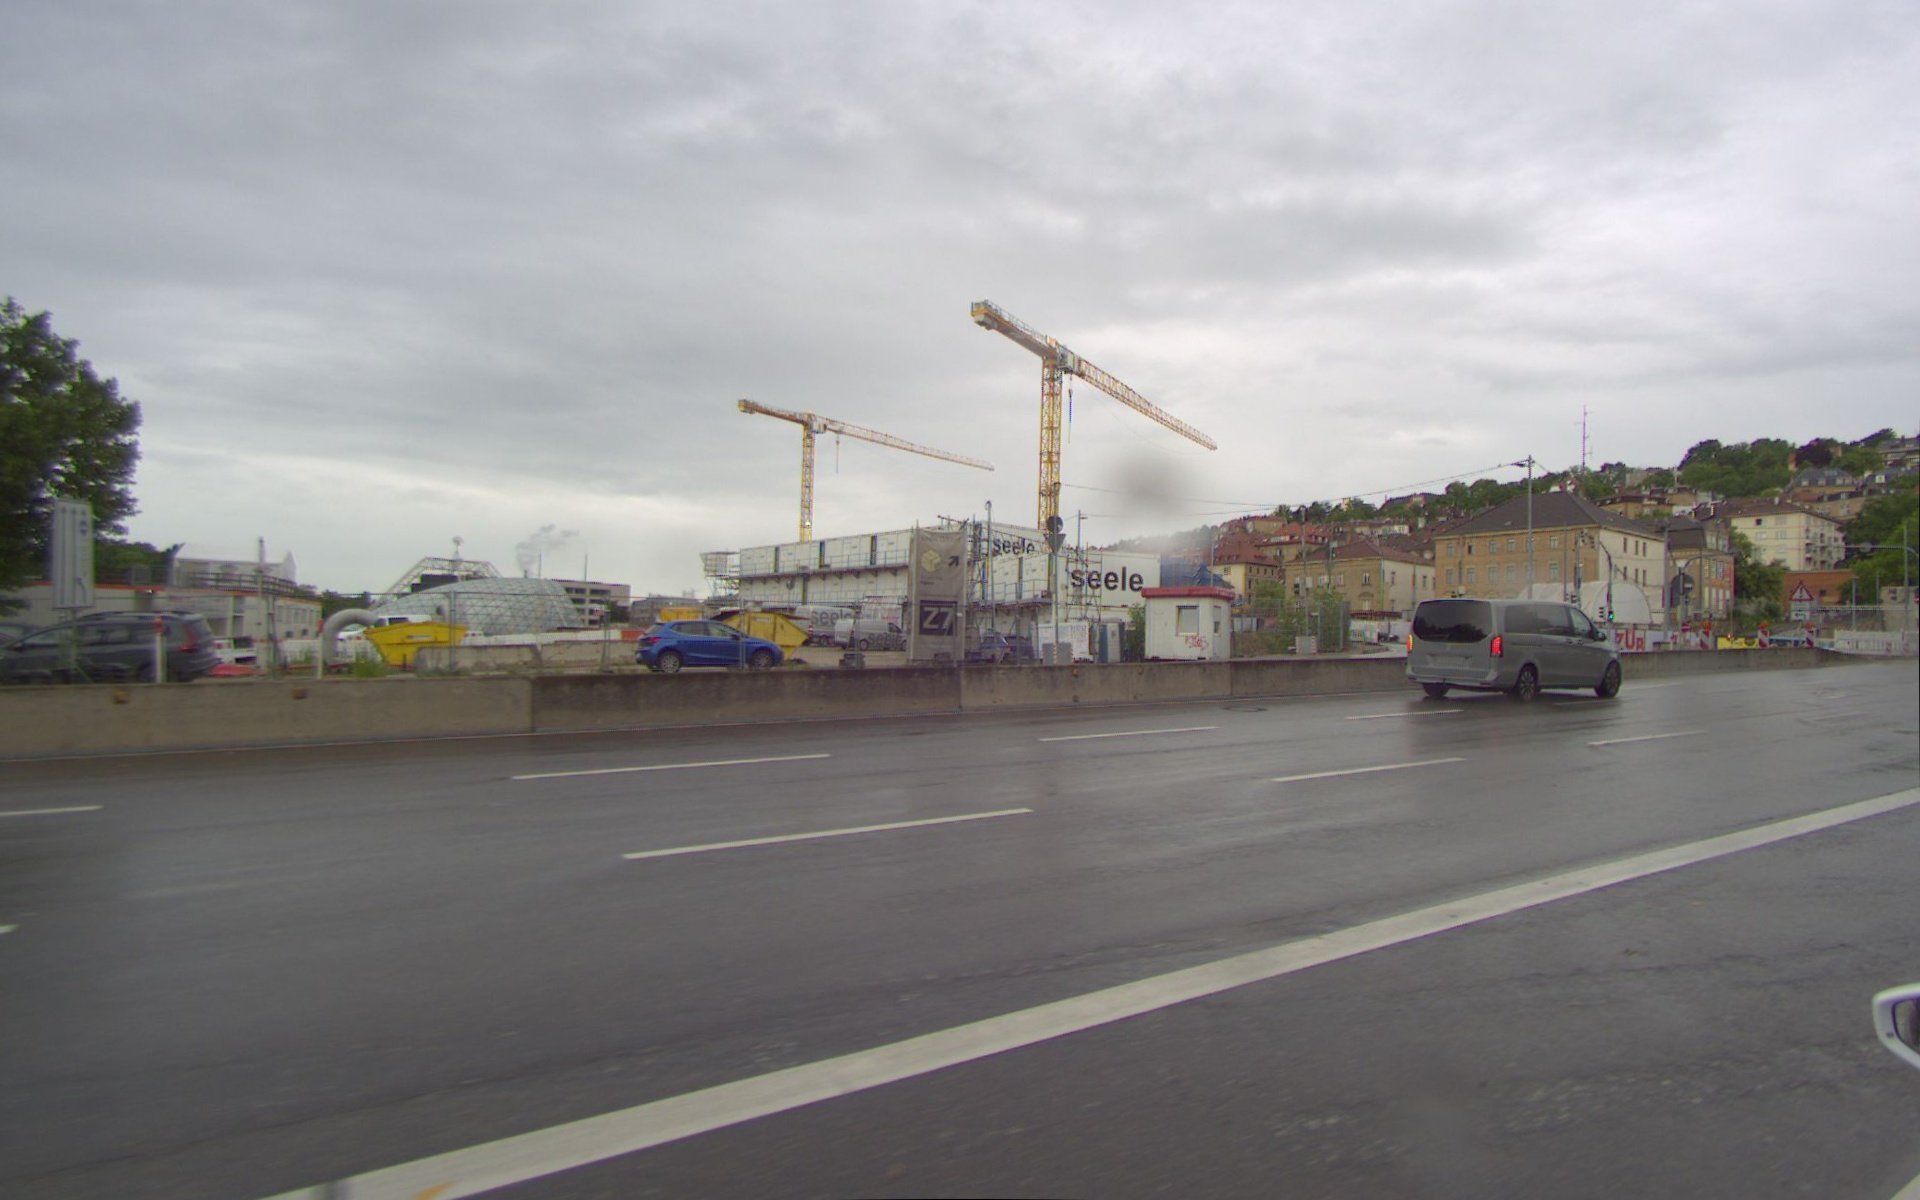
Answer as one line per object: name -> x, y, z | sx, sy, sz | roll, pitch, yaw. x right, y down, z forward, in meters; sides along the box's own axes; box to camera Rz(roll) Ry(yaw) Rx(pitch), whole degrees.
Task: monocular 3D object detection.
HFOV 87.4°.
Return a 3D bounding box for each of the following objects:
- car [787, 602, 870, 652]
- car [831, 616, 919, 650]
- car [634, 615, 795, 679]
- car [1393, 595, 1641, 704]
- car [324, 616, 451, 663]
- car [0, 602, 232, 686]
car -> -8.470, 1.791, 65.256 | 1.971, 2.866, 5.287 | -1, -5, 41
car -> -5.165, 2.035, 61.401 | 5.274, 2.040, 1.975 | 2, -3, -42
car -> -6.776, 1.296, 27.742 | 3.952, 1.643, 1.985 | 2, -2, -30
car -> 10.890, 1.000, 19.492 | 5.301, 1.880, 1.982 | 4, -2, -33
car -> -29.415, 2.061, 51.820 | 2.087, 2.257, 5.344 | 0, -3, 27
car -> -18.733, 0.954, 21.594 | 4.618, 1.585, 1.758 | 4, -4, -24
